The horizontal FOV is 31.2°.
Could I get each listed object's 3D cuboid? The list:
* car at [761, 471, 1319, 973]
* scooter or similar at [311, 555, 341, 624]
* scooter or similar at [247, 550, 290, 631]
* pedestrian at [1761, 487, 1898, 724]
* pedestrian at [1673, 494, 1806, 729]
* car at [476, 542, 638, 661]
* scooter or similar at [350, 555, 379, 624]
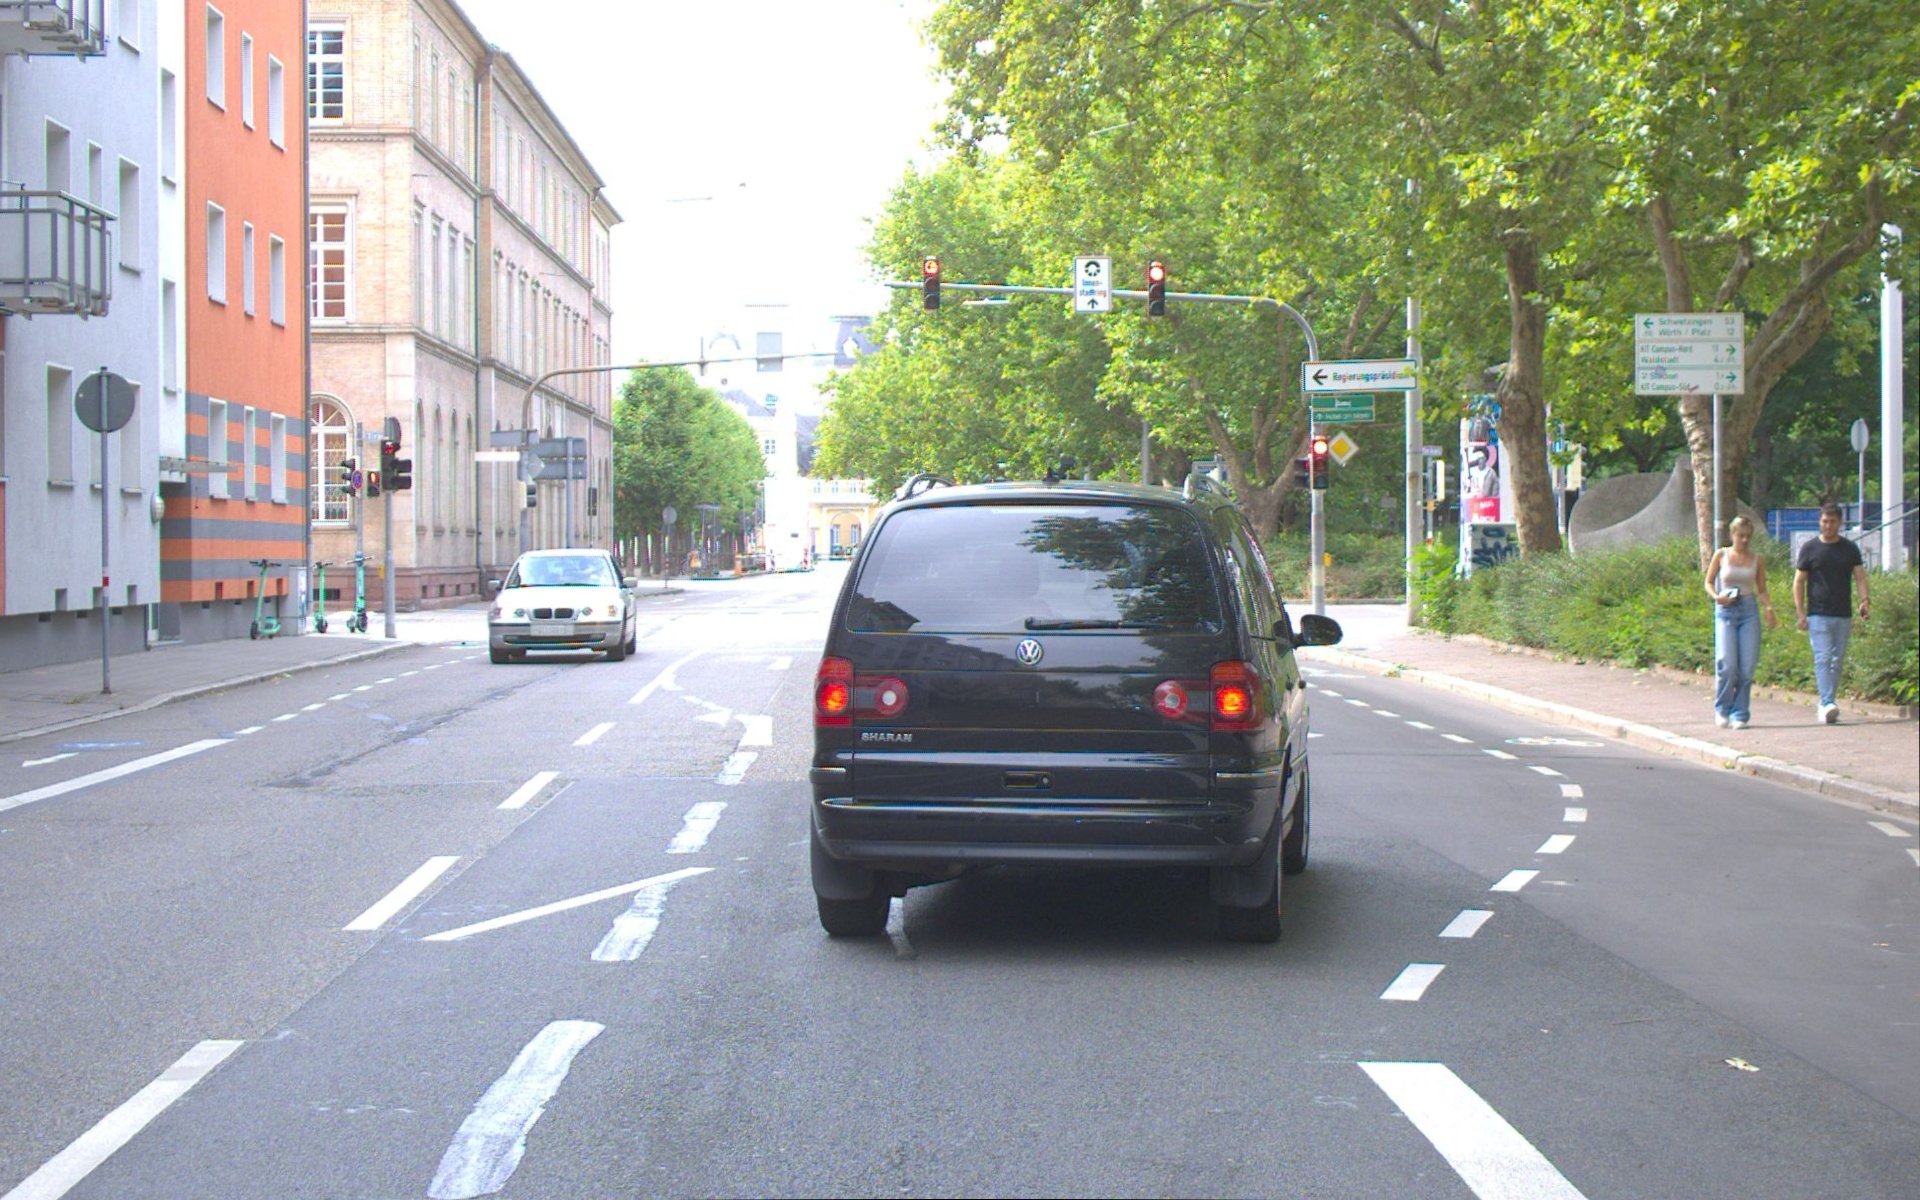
[{"bbox_3d":[0.507,0.370,14.290,1.874,1.739,4.572,0,1,7],"label":"car"},{"bbox_3d":[-10.483,-0.169,56.848,0.378,1.143,1.142,0,0,-5],"label":"scooter or similar"},{"bbox_3d":[-10.184,-0.128,50.634,0.378,1.179,1.390,0,0,-1],"label":"scooter or similar"},{"bbox_3d":[6.774,0.038,26.825,0.715,1.794,1.034,-2,1,-2],"label":"pedestrian"},{"bbox_3d":[6.079,0.085,26.858,0.710,1.777,1.034,-2,1,-2],"label":"pedestrian"},{"bbox_3d":[-5.212,-0.017,44.882,1.757,1.422,4.099,-2,1,-2],"label":"car"},{"bbox_3d":[-9.926,-0.172,57.321,0.378,1.140,1.142,0,0,-5],"label":"scooter or similar"}]
